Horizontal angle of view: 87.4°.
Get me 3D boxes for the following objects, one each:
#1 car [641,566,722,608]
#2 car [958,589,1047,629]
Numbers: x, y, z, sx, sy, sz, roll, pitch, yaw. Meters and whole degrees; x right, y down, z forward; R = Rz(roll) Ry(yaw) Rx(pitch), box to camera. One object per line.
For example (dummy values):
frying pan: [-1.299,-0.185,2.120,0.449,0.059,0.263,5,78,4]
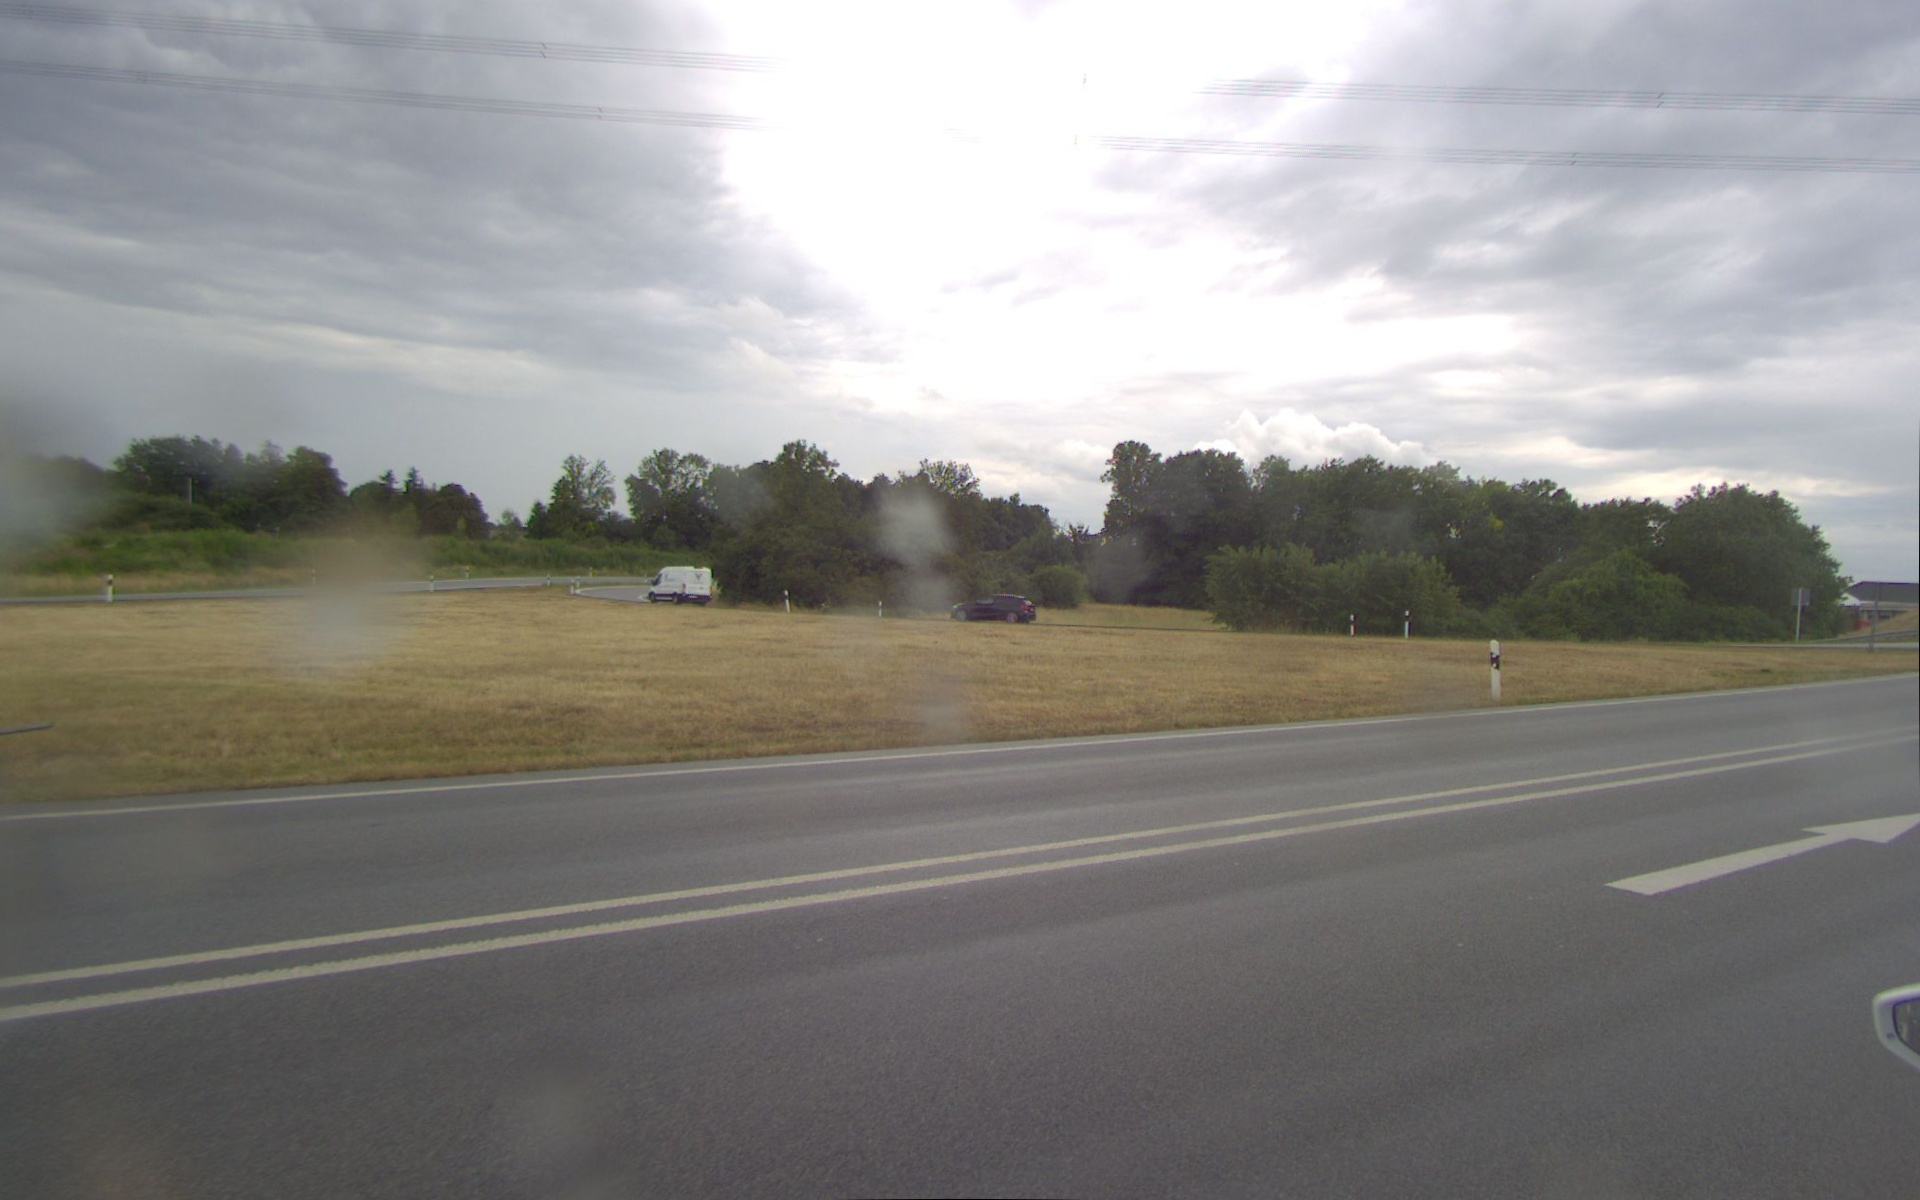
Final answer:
car: [-17.771,-0.840,63.880,5.391,2.422,2.429,3,0,42]
car: [2.077,0.422,49.020,3.841,1.625,1.987,4,1,23]
